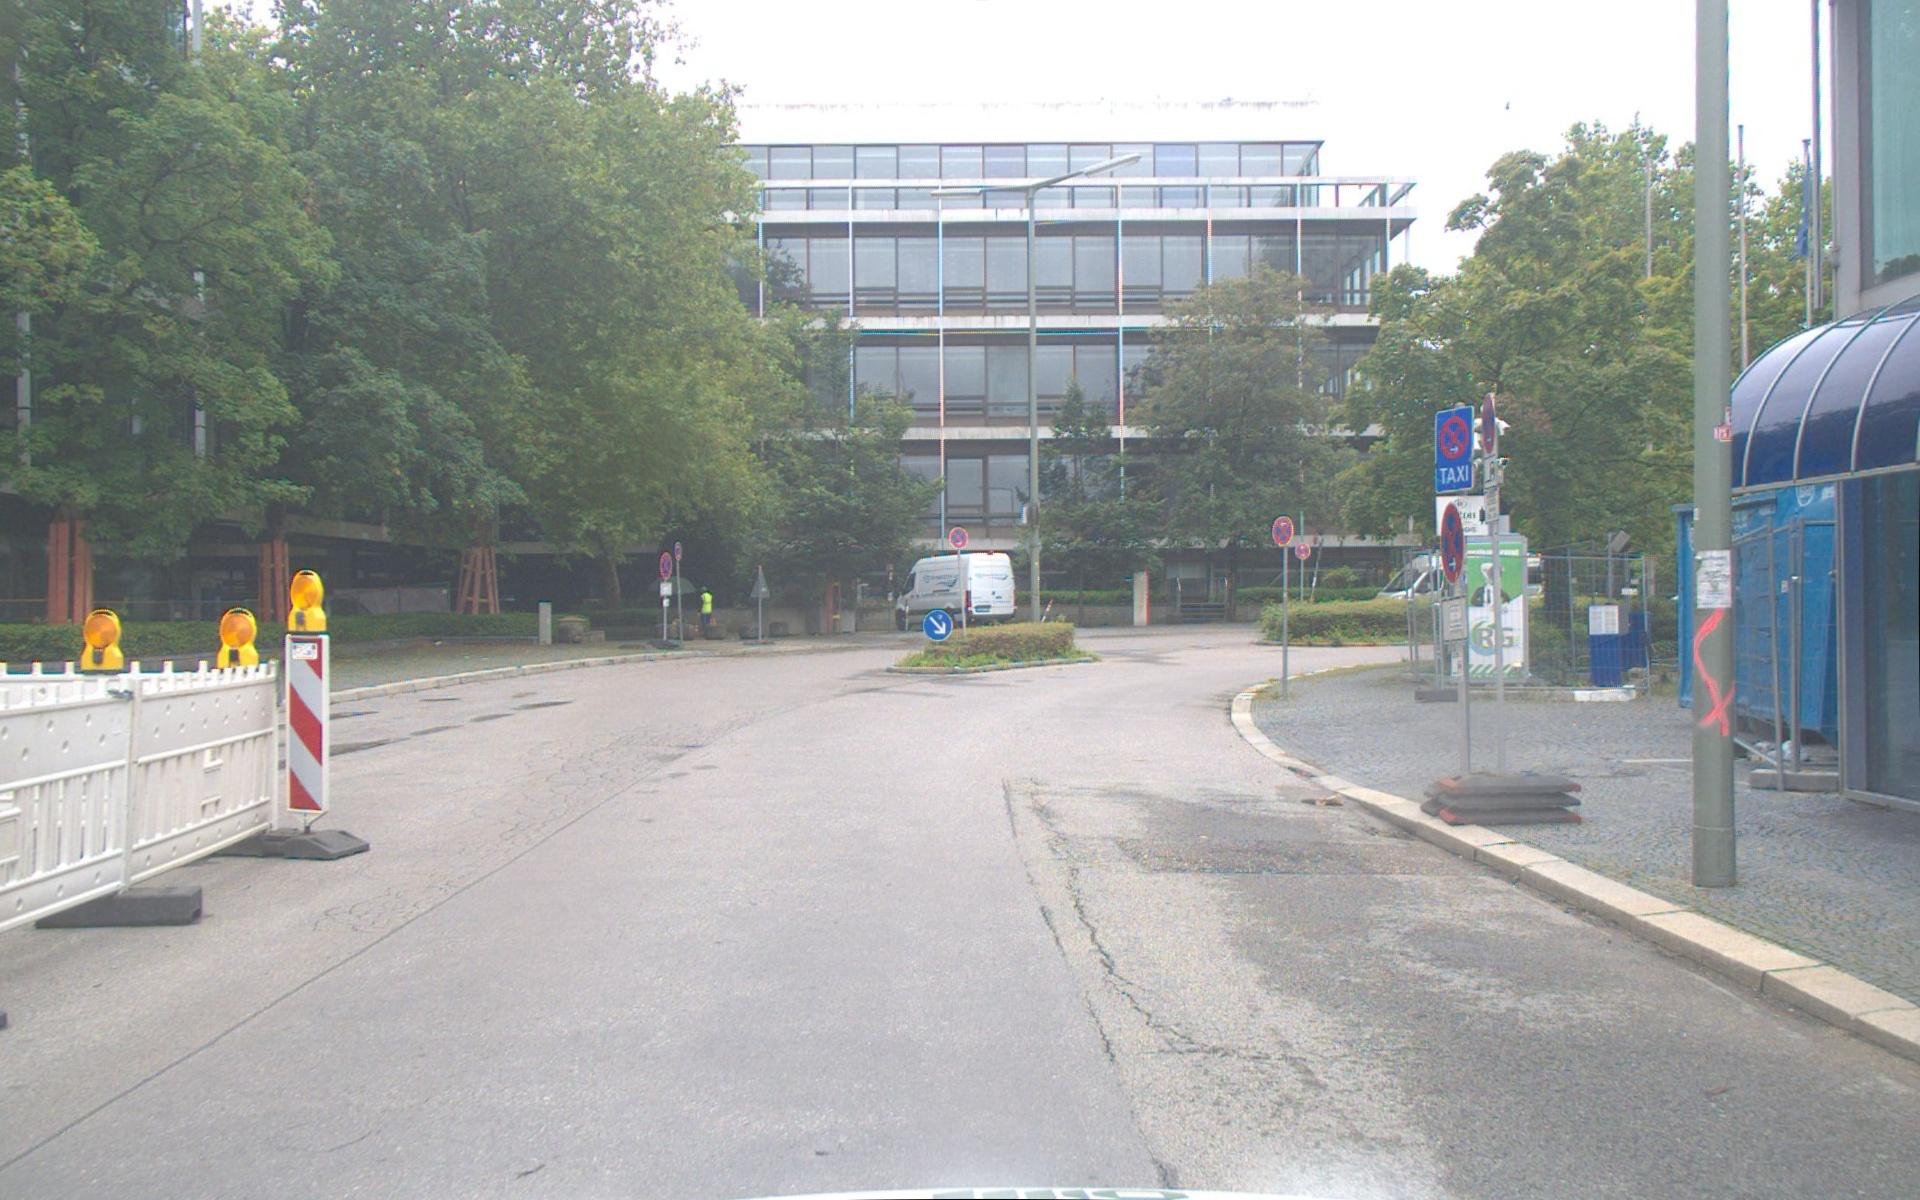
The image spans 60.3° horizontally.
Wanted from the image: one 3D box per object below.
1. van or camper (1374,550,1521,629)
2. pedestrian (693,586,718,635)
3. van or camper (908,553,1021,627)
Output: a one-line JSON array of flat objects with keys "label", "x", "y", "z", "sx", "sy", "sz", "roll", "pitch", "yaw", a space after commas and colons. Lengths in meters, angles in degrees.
[{"label": "van or camper", "x": 16.687, "y": -0.371, "z": 56.755, "sx": 4.371, "sy": 2.631, "sz": 2.102, "roll": -1, "pitch": 0, "yaw": -12}, {"label": "pedestrian", "x": -8.855, "y": 0.364, "z": 57.537, "sx": 0.730, "sy": 1.706, "sz": 0.678, "roll": -1, "pitch": 0, "yaw": -20}, {"label": "van or camper", "x": 0.099, "y": -0.354, "z": 58.991, "sx": 2.060, "sy": 2.535, "sz": 5.025, "roll": -1, "pitch": 0, "yaw": -26}]
